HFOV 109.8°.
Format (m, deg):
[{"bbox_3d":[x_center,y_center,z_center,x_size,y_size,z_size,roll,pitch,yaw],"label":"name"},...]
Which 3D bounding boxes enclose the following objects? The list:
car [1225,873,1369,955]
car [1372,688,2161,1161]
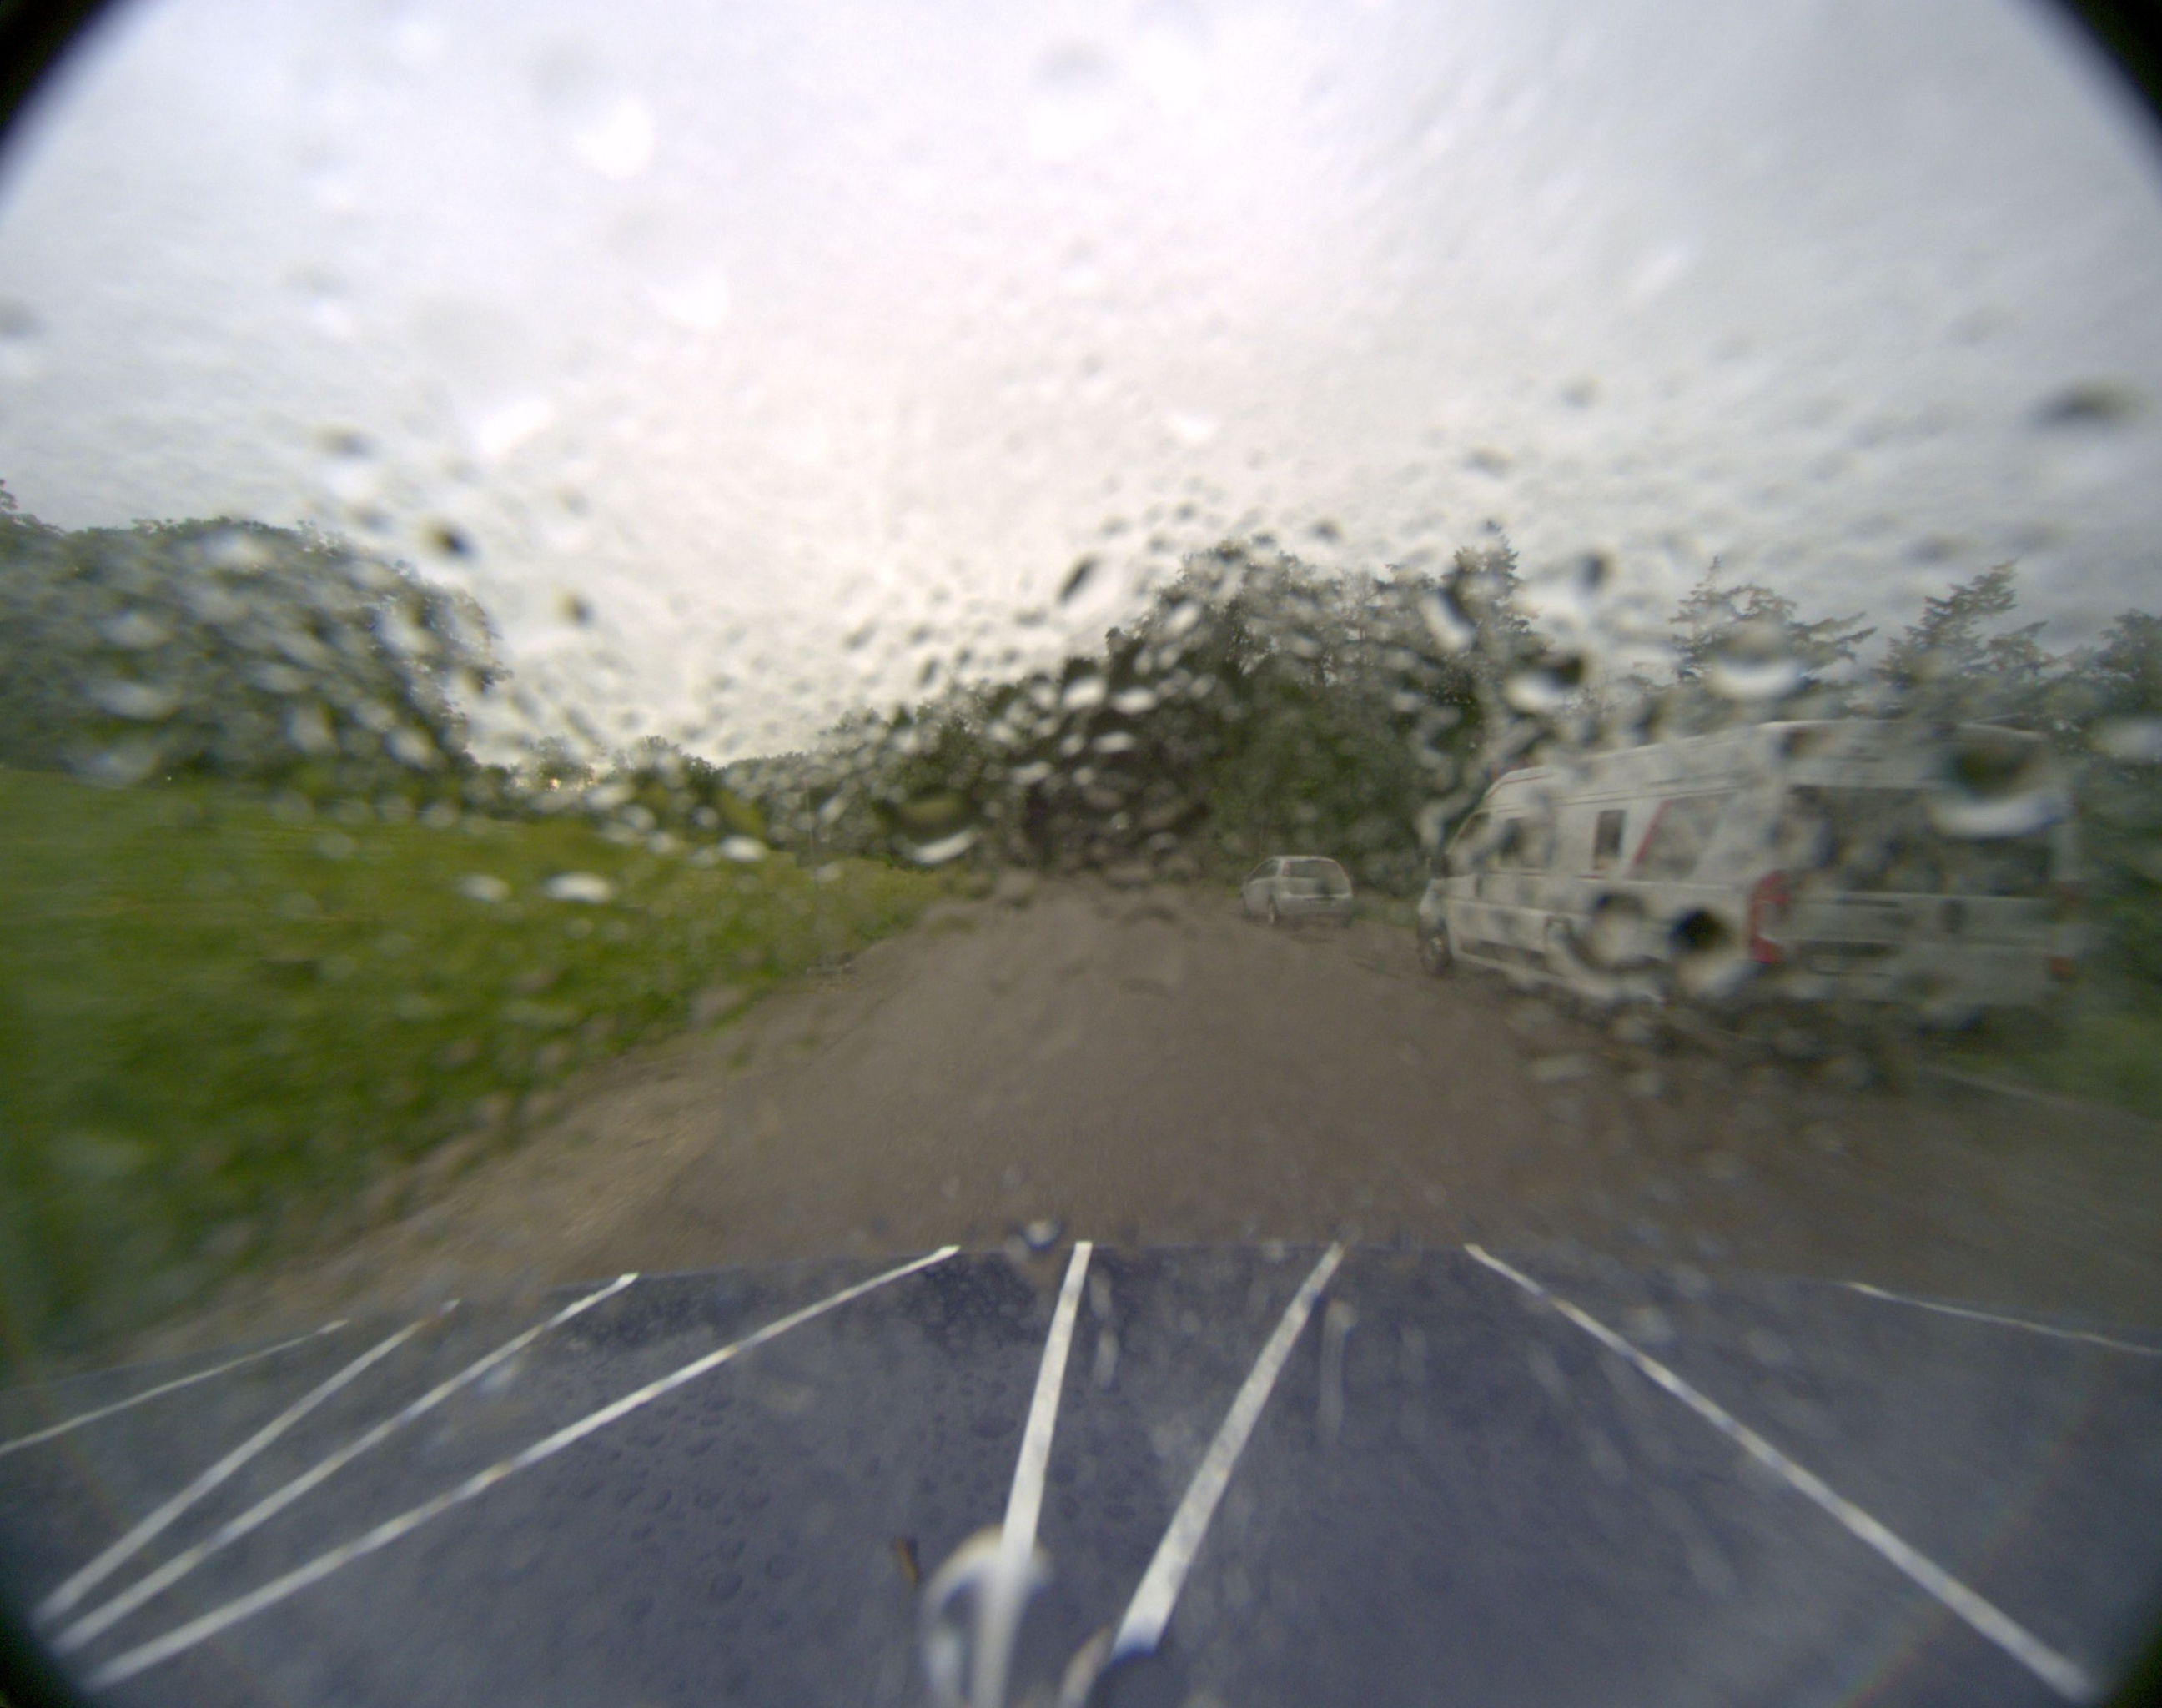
[{"bbox_3d":[4.719,1.253,17.355,1.866,1.586,4.495,1,-1,-2],"label":"car"},{"bbox_3d":[5.277,0.491,7.444,2.279,2.680,6.049,2,-1,-2],"label":"car"}]
